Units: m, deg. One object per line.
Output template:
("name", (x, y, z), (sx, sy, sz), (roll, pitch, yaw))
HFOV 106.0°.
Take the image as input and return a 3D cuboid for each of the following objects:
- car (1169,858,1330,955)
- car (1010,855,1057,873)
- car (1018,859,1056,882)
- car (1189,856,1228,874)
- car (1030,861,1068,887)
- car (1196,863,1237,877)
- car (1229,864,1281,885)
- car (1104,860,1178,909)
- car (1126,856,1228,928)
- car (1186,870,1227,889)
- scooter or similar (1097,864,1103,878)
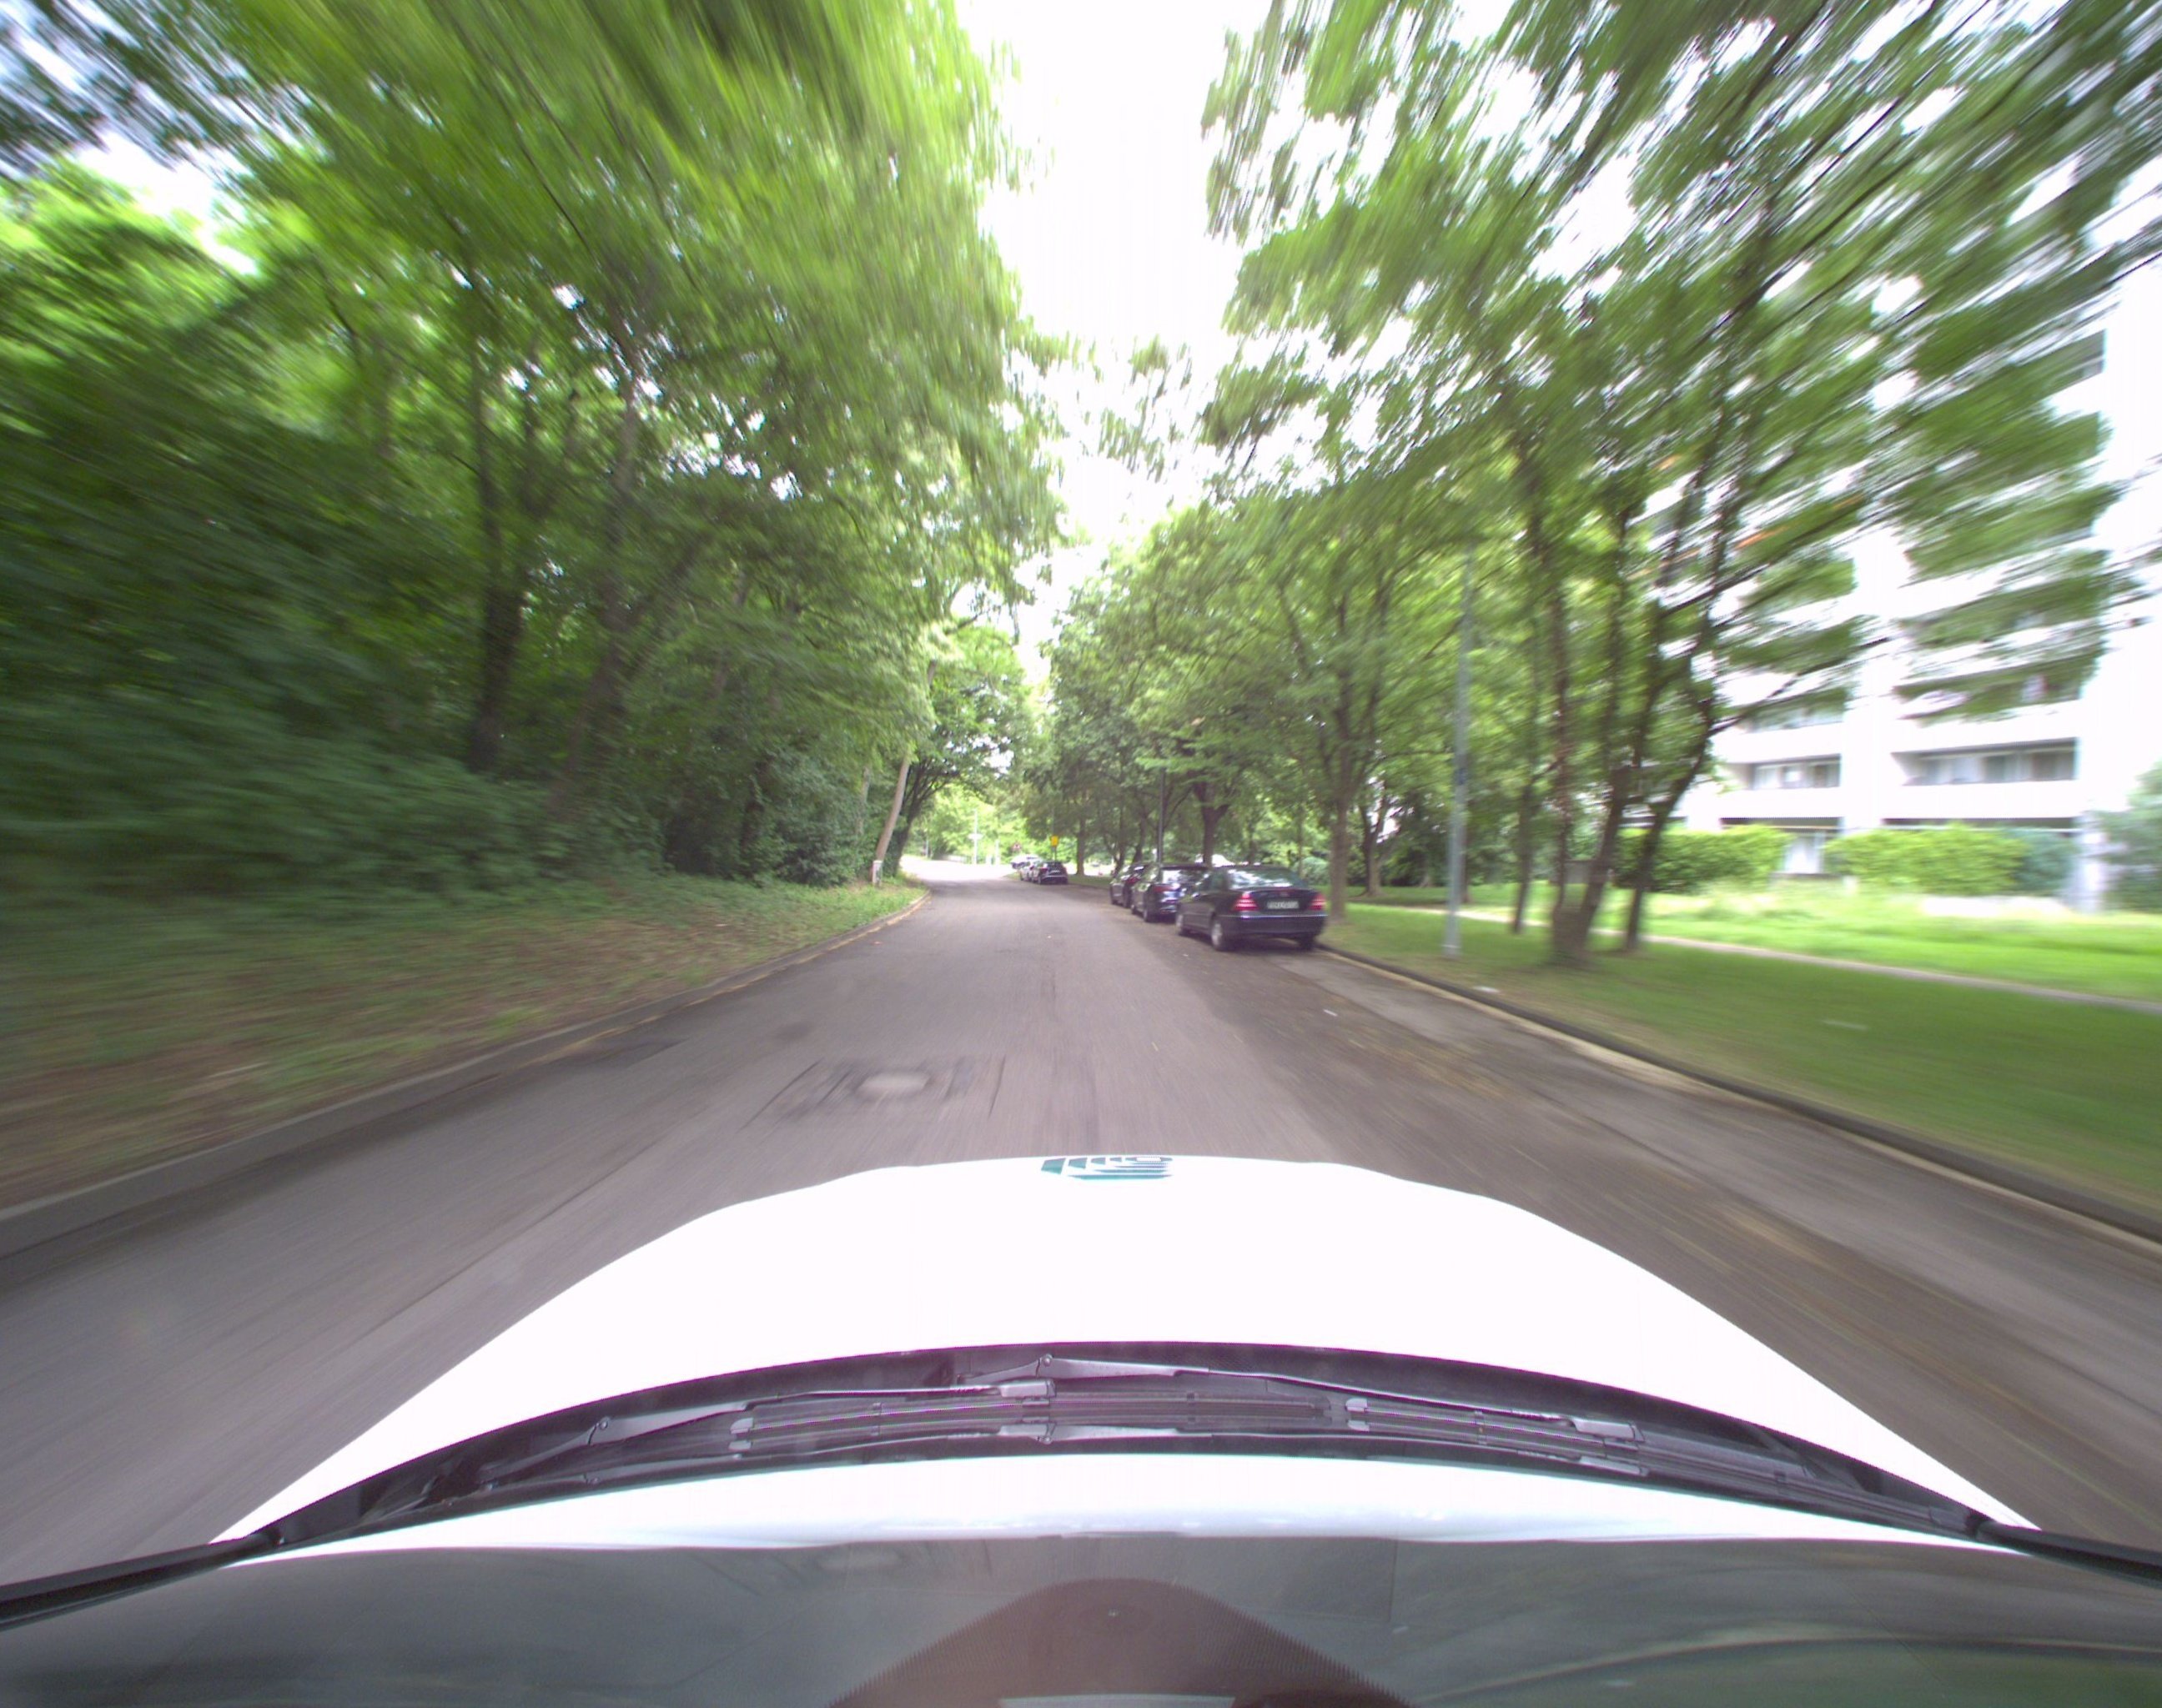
("car", (2.830, 0.813, 14.650), (1.587, 1.465, 4.306), (1, 0, -6))
("car", (-4.470, 0.971, 76.991), (4.225, 1.685, 1.792), (1, 0, -12))
("car", (-3.083, 1.134, 56.003), (1.778, 1.522, 3.759), (1, 0, -17))
("car", (14.829, 1.276, 94.833), (4.204, 2.014, 1.994), (1, 0, -9))
("car", (-2.065, 1.230, 51.724), (1.775, 1.522, 4.166), (1, 0, -12))
("car", (15.287, 1.832, 91.862), (4.204, 1.499, 1.794), (1, 0, -9))
("car", (16.308, 1.881, 76.458), (4.389, 1.848, 1.829), (1, 0, -5))
("car", (1.899, 0.958, 26.858), (1.681, 1.464, 3.888), (1, 0, -7))
("car", (2.332, 0.882, 20.961), (1.908, 1.612, 4.730), (0, 0, -2))
("car", (11.552, 2.331, 75.040), (3.507, 1.570, 1.831), (1, 0, -2))
("scooter or similar", (1.681, 1.529, 73.827), (0.283, 1.287, 1.104), (1, 0, -11))
